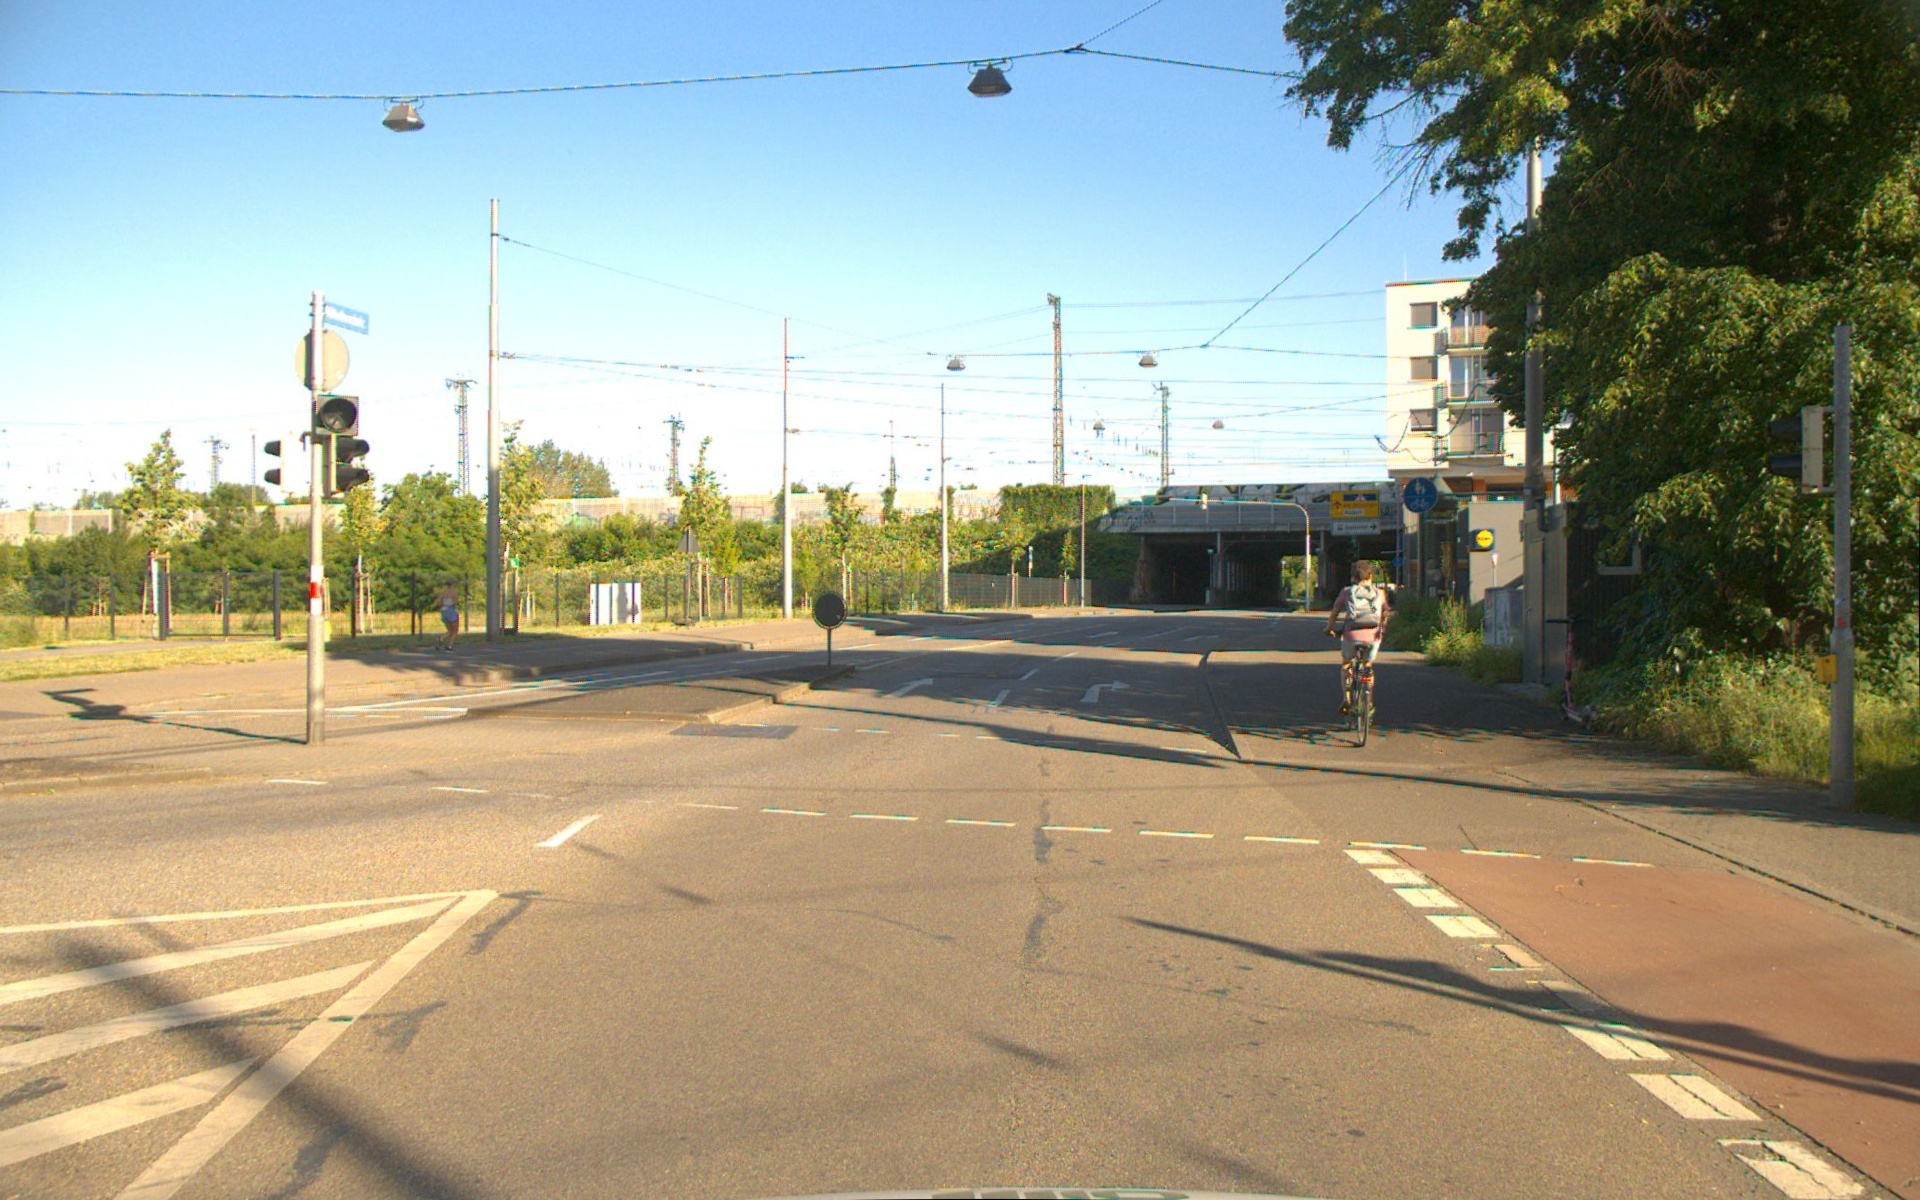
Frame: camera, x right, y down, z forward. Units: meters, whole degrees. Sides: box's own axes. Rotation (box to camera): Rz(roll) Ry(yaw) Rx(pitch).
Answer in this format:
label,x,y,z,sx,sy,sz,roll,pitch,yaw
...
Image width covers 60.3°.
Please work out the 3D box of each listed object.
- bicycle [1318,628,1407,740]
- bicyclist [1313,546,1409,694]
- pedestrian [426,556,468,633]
label,x,y,z,sx,sy,sz,roll,pitch,yaw
bicycle,4.341,0.880,17.948,0.653,1.078,2.083,-1,1,6
bicyclist,4.339,0.199,17.976,0.822,1.536,1.370,-1,1,6
pedestrian,-11.044,-0.127,35.614,0.586,1.624,0.685,1,1,15
